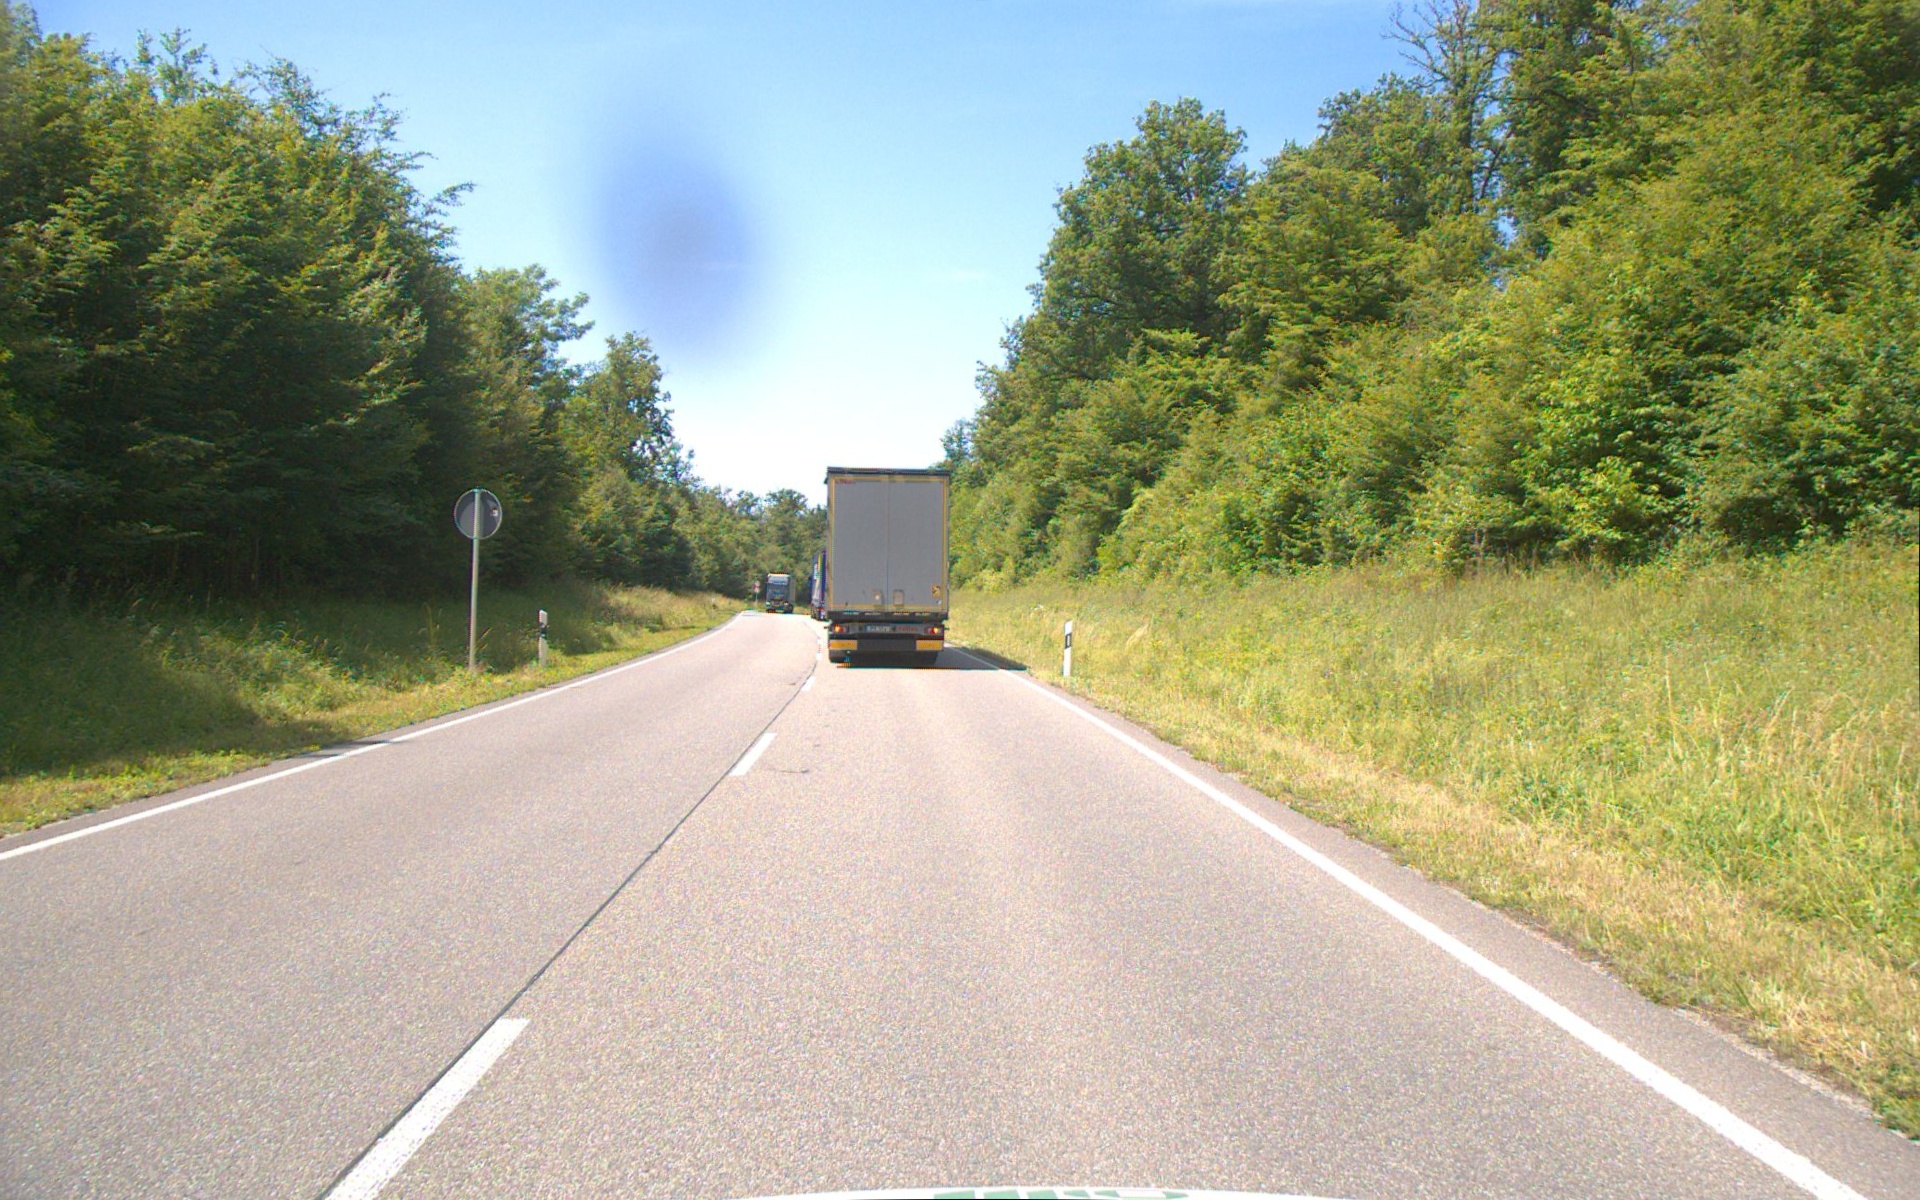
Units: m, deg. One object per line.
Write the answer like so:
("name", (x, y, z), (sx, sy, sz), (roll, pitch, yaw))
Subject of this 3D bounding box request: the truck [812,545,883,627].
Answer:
("truck", (-6.880, -0.751, 99.266), (3.719, 4.449, 14.903), (2, 0, -5))

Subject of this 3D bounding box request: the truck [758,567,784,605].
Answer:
("truck", (-21.536, -1.573, 188.285), (2.867, 4.289, 5.335), (0, 0, -7))

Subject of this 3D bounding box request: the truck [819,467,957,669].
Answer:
("truck", (-1.803, -0.675, 39.432), (2.706, 4.016, 12.189), (1, 0, -3))

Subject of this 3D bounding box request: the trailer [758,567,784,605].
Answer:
("trailer", (-22.336, -1.623, 195.137), (2.886, 4.327, 13.599), (0, 0, -7))
